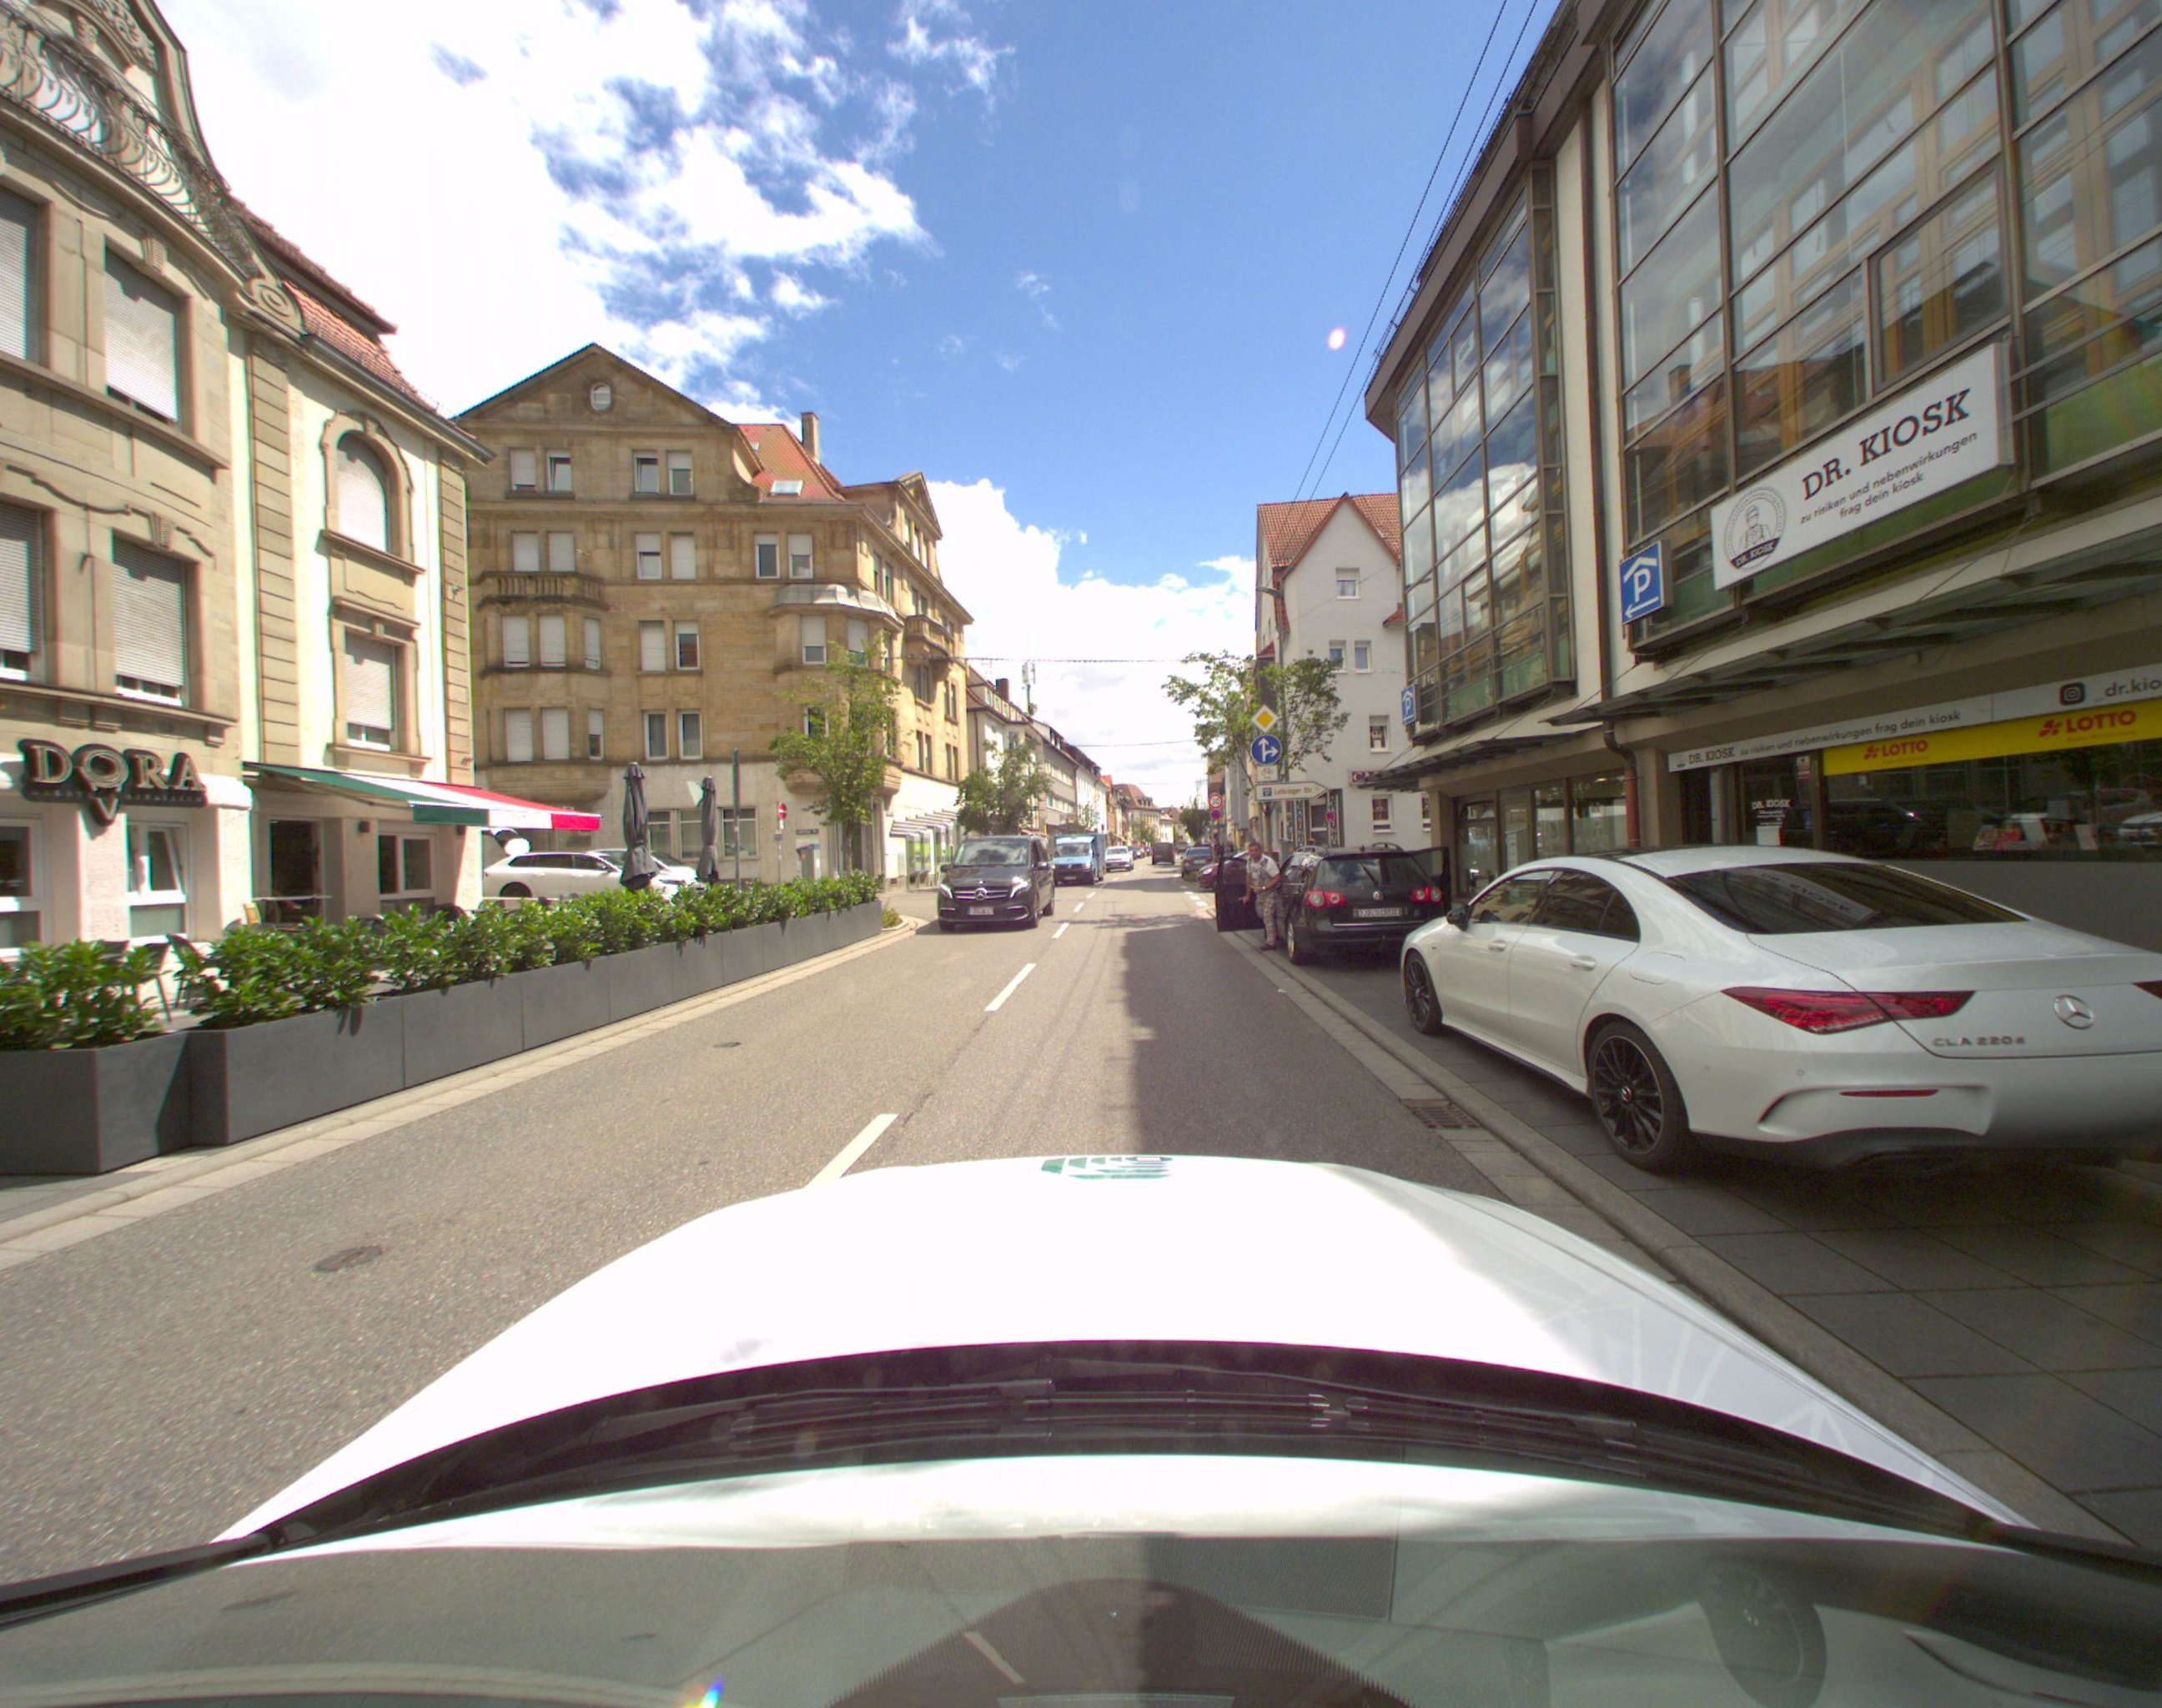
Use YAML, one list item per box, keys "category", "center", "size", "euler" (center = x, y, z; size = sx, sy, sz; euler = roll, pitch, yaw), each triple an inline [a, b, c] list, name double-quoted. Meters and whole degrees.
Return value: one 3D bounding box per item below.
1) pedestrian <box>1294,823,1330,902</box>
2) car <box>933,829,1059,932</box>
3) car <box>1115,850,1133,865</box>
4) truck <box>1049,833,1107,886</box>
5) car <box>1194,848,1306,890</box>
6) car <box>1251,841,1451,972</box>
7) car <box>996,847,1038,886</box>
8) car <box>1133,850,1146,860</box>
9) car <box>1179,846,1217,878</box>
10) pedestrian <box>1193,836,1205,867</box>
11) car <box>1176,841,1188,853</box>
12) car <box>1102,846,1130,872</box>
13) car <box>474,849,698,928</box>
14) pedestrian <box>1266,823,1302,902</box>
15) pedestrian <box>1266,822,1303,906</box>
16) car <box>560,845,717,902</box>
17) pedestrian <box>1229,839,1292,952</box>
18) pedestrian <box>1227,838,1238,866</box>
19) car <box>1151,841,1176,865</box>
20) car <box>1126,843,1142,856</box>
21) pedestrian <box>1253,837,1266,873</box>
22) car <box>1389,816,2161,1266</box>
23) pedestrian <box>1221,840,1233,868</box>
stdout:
- category: "pedestrian"
  center: [6.018, 0.216, 21.244]
  size: [0.687, 2.013, 0.723]
  euler: [-1, 0, -1]
- category: "car"
  center: [-1.634, 0.461, 17.302]
  size: [1.827, 1.835, 4.575]
  euler: [-2, 1, 4]
- category: "car"
  center: [4.894, 0.389, 92.908]
  size: [1.986, 1.585, 4.003]
  euler: [-1, 0, 2]
- category: "truck"
  center: [-0.059, 0.183, 36.940]
  size: [2.056, 2.165, 5.302]
  euler: [-2, 1, 5]
- category: "car"
  center: [5.797, 0.502, 28.205]
  size: [3.606, 1.413, 1.591]
  euler: [0, 0, 2]
- category: "car"
  center: [3.506, 0.569, 11.367]
  size: [1.599, 1.434, 4.179]
  euler: [-2, 1, 4]
- category: "car"
  center: [-3.088, 0.561, 39.750]
  size: [1.704, 1.712, 3.999]
  euler: [-1, 1, -1]
- category: "car"
  center: [9.333, 0.188, 129.622]
  size: [1.986, 1.585, 4.003]
  euler: [-1, 0, 2]
- category: "car"
  center: [5.624, 0.348, 39.512]
  size: [1.514, 1.434, 3.373]
  euler: [-2, 1, 3]
- category: "pedestrian"
  center: [7.643, -0.181, 52.783]
  size: [0.678, 2.013, 0.600]
  euler: [-1, 0, 7]
- category: "car"
  center: [18.766, -1.263, 151.184]
  size: [2.051, 2.301, 4.237]
  euler: [0, 0, 11]
- category: "car"
  center: [2.279, 0.299, 52.907]
  size: [1.690, 1.585, 3.960]
  euler: [-1, 0, 2]
- category: "car"
  center: [-12.477, 0.813, 20.842]
  size: [4.423, 1.775, 1.991]
  euler: [-2, 0, -13]
- category: "pedestrian"
  center: [5.257, 0.218, 21.114]
  size: [0.687, 2.013, 0.723]
  euler: [-1, 0, -1]
- category: "pedestrian"
  center: [5.009, 0.237, 20.102]
  size: [0.687, 2.013, 0.723]
  euler: [-1, 0, -1]
- category: "car"
  center: [-14.265, 0.605, 26.445]
  size: [3.977, 1.662, 1.908]
  euler: [-2, 0, -2]
- category: "pedestrian"
  center: [2.637, 0.582, 11.977]
  size: [0.658, 1.594, 0.682]
  euler: [-1, -1, 40]
- category: "pedestrian"
  center: [10.807, -0.157, 58.196]
  size: [0.680, 2.013, 0.599]
  euler: [-1, 0, 1]
- category: "car"
  center: [6.919, -0.130, 68.289]
  size: [1.961, 1.875, 5.047]
  euler: [-2, 1, 6]
- category: "car"
  center: [7.036, -0.599, 109.136]
  size: [1.986, 1.585, 4.003]
  euler: [-1, 0, 2]
- category: "pedestrian"
  center: [9.387, 0.052, 42.806]
  size: [0.591, 1.889, 0.573]
  euler: [0, 0, 5]
- category: "car"
  center: [3.352, 0.614, 4.818]
  size: [1.614, 1.434, 4.243]
  euler: [-3, 0, 3]
- category: "pedestrian"
  center: [9.999, 0.000, 55.853]
  size: [0.573, 1.889, 0.641]
  euler: [0, -1, -24]
